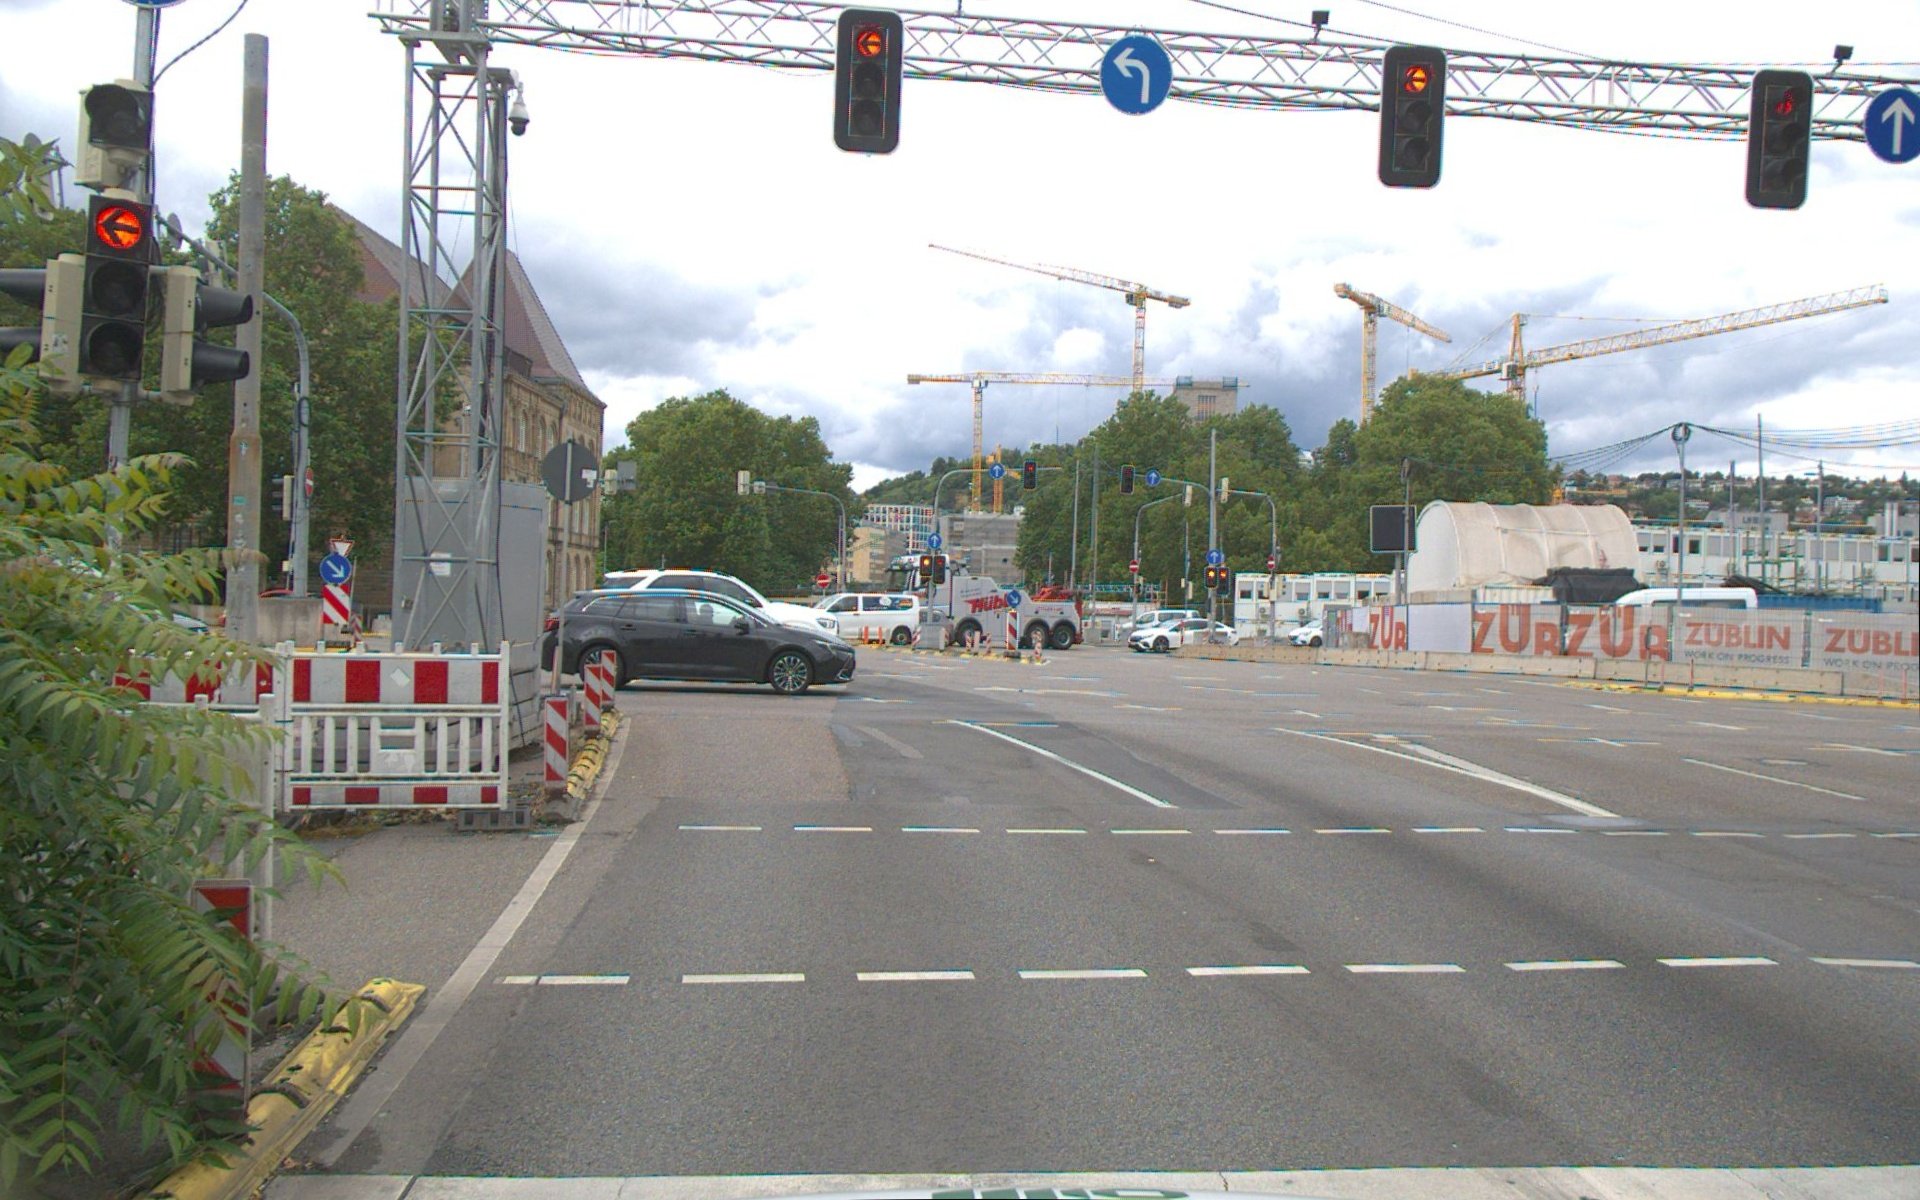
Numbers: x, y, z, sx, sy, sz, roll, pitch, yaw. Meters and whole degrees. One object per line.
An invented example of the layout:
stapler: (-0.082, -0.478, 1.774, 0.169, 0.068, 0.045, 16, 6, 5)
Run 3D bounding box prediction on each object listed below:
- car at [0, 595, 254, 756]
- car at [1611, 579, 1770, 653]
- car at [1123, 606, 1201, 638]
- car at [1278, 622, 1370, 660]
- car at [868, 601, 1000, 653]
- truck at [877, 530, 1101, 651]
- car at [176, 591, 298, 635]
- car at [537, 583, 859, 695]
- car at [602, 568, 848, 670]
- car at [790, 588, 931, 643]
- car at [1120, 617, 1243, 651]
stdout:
car: (-11.158, 0.881, 20.175, 4.183, 1.837, 1.999, 1, -1, -2)
car: (21.055, 0.451, 47.825, 3.902, 2.049, 2.001, 1, 0, 15)
car: (11.143, 1.229, 91.355, 3.908, 1.680, 1.865, 1, 0, 26)
car: (17.815, 2.006, 80.947, 4.093, 1.754, 1.894, 1, 0, -24)
car: (-1.074, 1.121, 68.163, 5.061, 2.049, 2.062, 1, 0, -24)
truck: (1.349, -0.334, 73.193, 9.600, 5.047, 3.086, 1, -1, -27)
car: (-24.819, 0.447, 56.894, 3.755, 1.410, 1.792, 1, 0, -23)
car: (-3.717, 0.550, 24.123, 4.400, 1.492, 1.999, 1, 0, -3)
car: (-4.356, 0.360, 31.063, 4.404, 1.790, 1.997, 1, 0, -7)
car: (-3.848, 0.604, 63.889, 5.061, 2.049, 2.062, 1, 0, -24)
car: (9.872, 1.518, 73.629, 5.066, 1.444, 2.220, 1, 0, -24)
